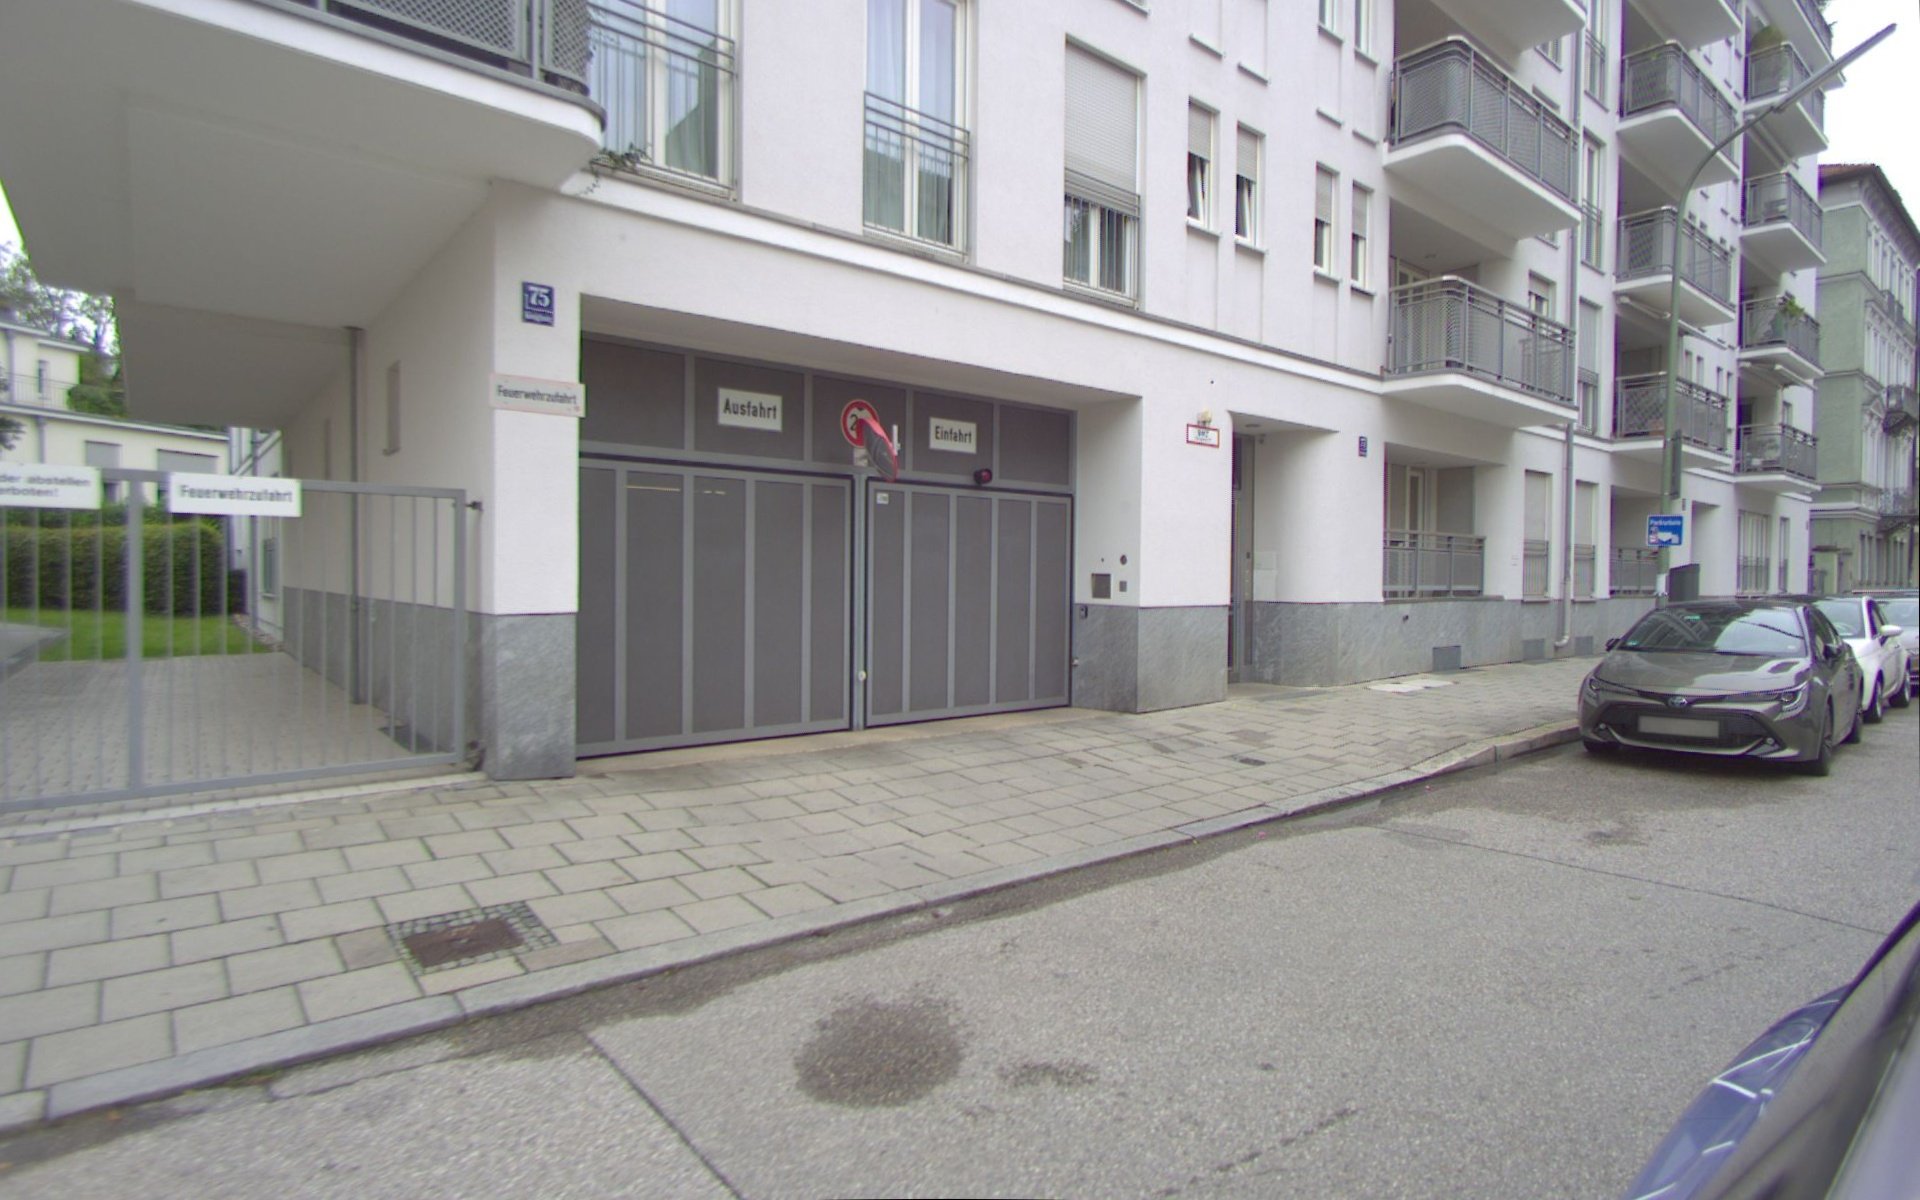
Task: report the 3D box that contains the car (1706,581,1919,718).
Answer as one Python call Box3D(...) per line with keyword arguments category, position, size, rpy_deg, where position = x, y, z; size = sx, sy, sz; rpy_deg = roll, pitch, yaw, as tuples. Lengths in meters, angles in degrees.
Box3D(category="car", position=(10.937, 0.534, 12.798), size=(3.680, 1.486, 1.620), rpy_deg=(0, 0, -40))

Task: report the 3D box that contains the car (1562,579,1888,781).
Box3D(category="car", position=(7.363, 0.591, 9.577), size=(4.146, 1.494, 1.773), rpy_deg=(0, 0, -43))

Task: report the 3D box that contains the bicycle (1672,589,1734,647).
Box3D(category="bicycle", position=(15.471, 0.359, 21.063), size=(1.778, 1.111, 0.570), rpy_deg=(0, 4, -40))

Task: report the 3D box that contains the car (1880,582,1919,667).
Box3D(category="car", position=(19.327, 0.444, 19.636), size=(3.953, 1.552, 1.839), rpy_deg=(0, -1, -43))

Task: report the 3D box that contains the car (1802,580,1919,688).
Box3D(category="car", position=(14.781, 0.472, 15.853), size=(4.524, 1.501, 1.793), rpy_deg=(0, 0, -42))
